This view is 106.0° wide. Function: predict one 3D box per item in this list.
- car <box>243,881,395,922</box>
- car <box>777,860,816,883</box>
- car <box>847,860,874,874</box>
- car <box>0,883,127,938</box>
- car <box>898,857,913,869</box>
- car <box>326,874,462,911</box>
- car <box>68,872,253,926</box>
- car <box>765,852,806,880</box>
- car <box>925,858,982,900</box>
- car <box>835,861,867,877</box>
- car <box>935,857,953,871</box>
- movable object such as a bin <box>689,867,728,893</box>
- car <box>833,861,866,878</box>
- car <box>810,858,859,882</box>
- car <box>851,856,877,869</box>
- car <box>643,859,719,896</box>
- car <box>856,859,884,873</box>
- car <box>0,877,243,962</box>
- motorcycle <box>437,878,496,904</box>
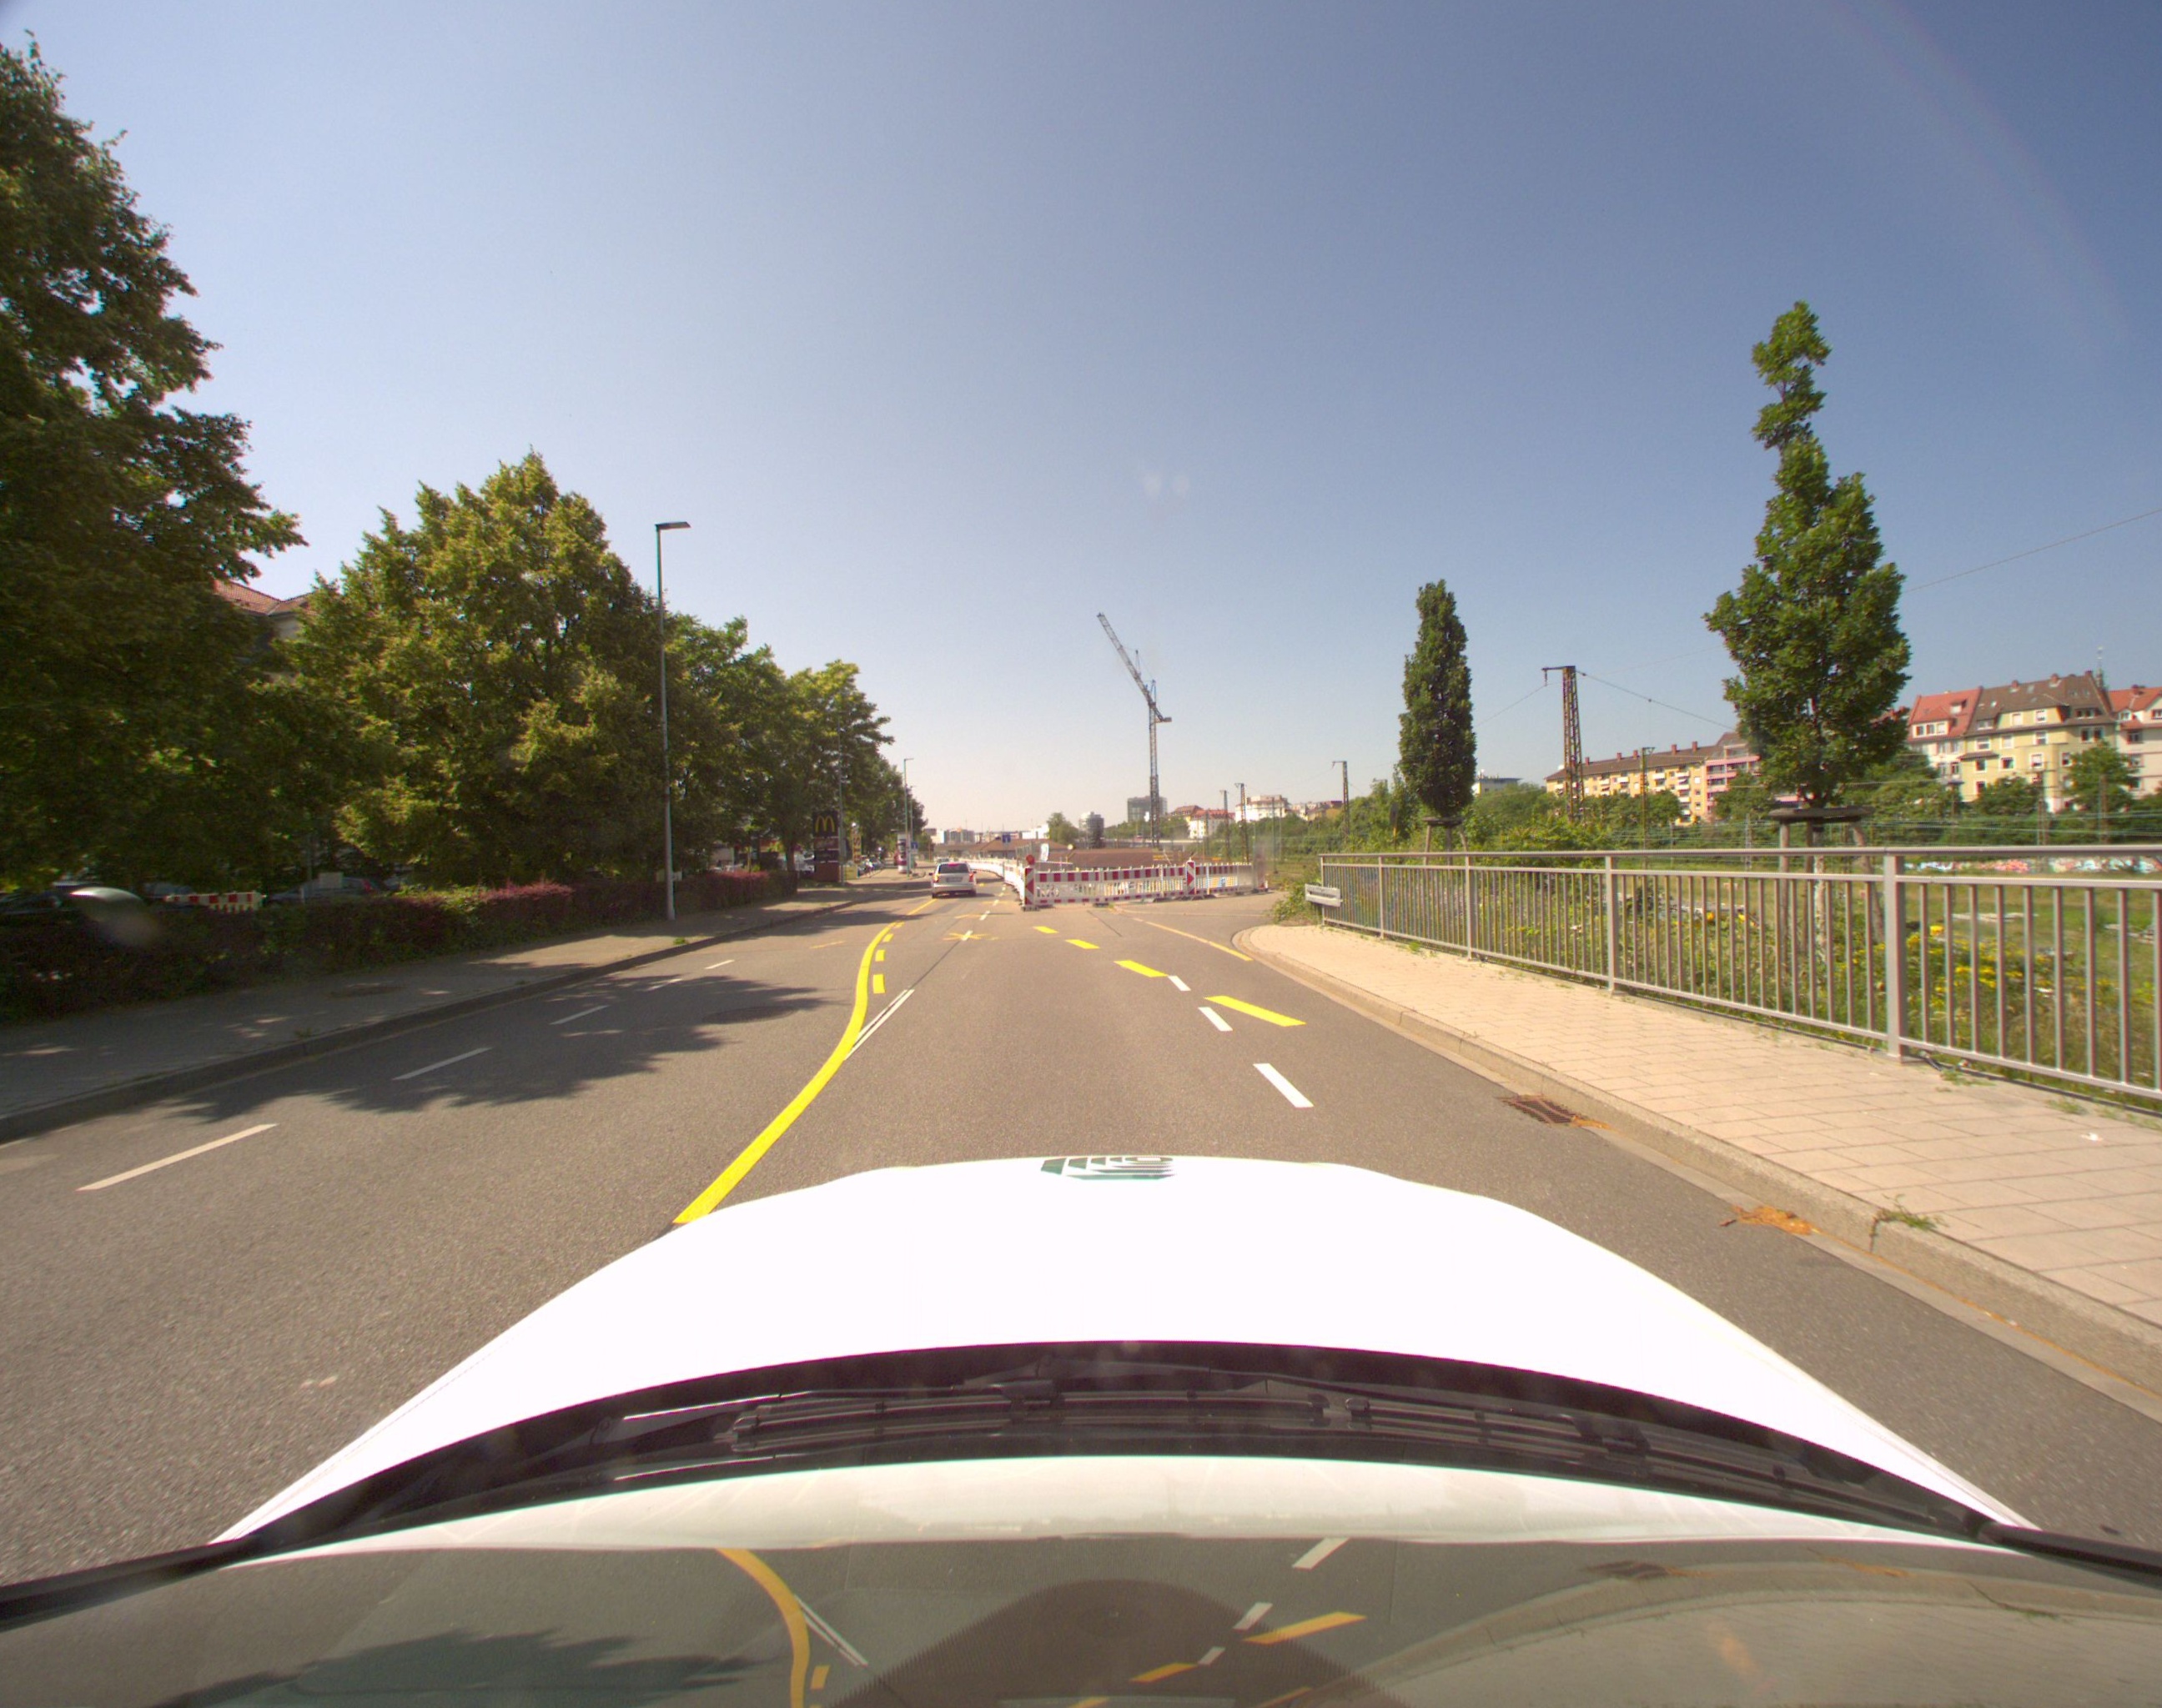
[{"bbox_3d":[-30.117,1.842,32.308,4.068,1.395,1.618,-1,0,-17],"label":"car"},{"bbox_3d":[-24.369,1.523,69.677,2.058,1.707,4.268,-3,-1,-34],"label":"car"},{"bbox_3d":[-27.180,1.632,100.404,1.681,1.472,3.953,-6,1,-40],"label":"car"},{"bbox_3d":[-33.928,1.820,26.218,3.848,1.588,1.633,-1,0,-19],"label":"car"},{"bbox_3d":[-25.871,1.308,120.036,1.869,1.498,4.019,-3,1,-9],"label":"car"},{"bbox_3d":[-29.714,1.647,35.375,4.092,1.387,1.760,-1,0,-17],"label":"car"},{"bbox_3d":[-32.877,1.575,29.243,4.021,1.732,1.791,-1,0,-17],"label":"car"},{"bbox_3d":[-30.430,1.232,84.128,2.273,2.758,6.142,-3,0,-5],"label":"car"},{"bbox_3d":[-4.996,0.938,32.434,1.705,1.403,4.382,-4,1,-3],"label":"car"},{"bbox_3d":[-24.701,1.642,87.403,1.794,1.472,3.954,-6,1,-38],"label":"car"},{"bbox_3d":[-15.391,1.092,91.508,1.679,1.493,4.586,-3,0,-12],"label":"car"},{"bbox_3d":[-25.030,1.725,54.749,1.757,1.526,1.461,-4,2,13],"label":"movable object such as a bin"},{"bbox_3d":[-23.332,1.588,82.061,1.850,1.472,3.956,-5,1,-35],"label":"car"},{"bbox_3d":[-21.749,1.417,71.700,4.605,1.706,1.994,-6,-1,44],"label":"car"},{"bbox_3d":[-34.739,1.314,130.348,3.935,1.959,1.748,-1,0,-20],"label":"car"},{"bbox_3d":[-25.844,1.502,52.582,4.468,1.920,1.904,-5,1,26],"label":"car"},{"bbox_3d":[-26.982,1.553,104.002,1.791,1.472,3.953,-5,1,-40],"label":"car"},{"bbox_3d":[-22.405,1.392,18.298,2.063,1.560,5.024,-2,0,-3],"label":"car"},{"bbox_3d":[-29.255,1.764,38.835,2.191,1.131,0.564,-1,0,-33],"label":"motorcycle"}]
